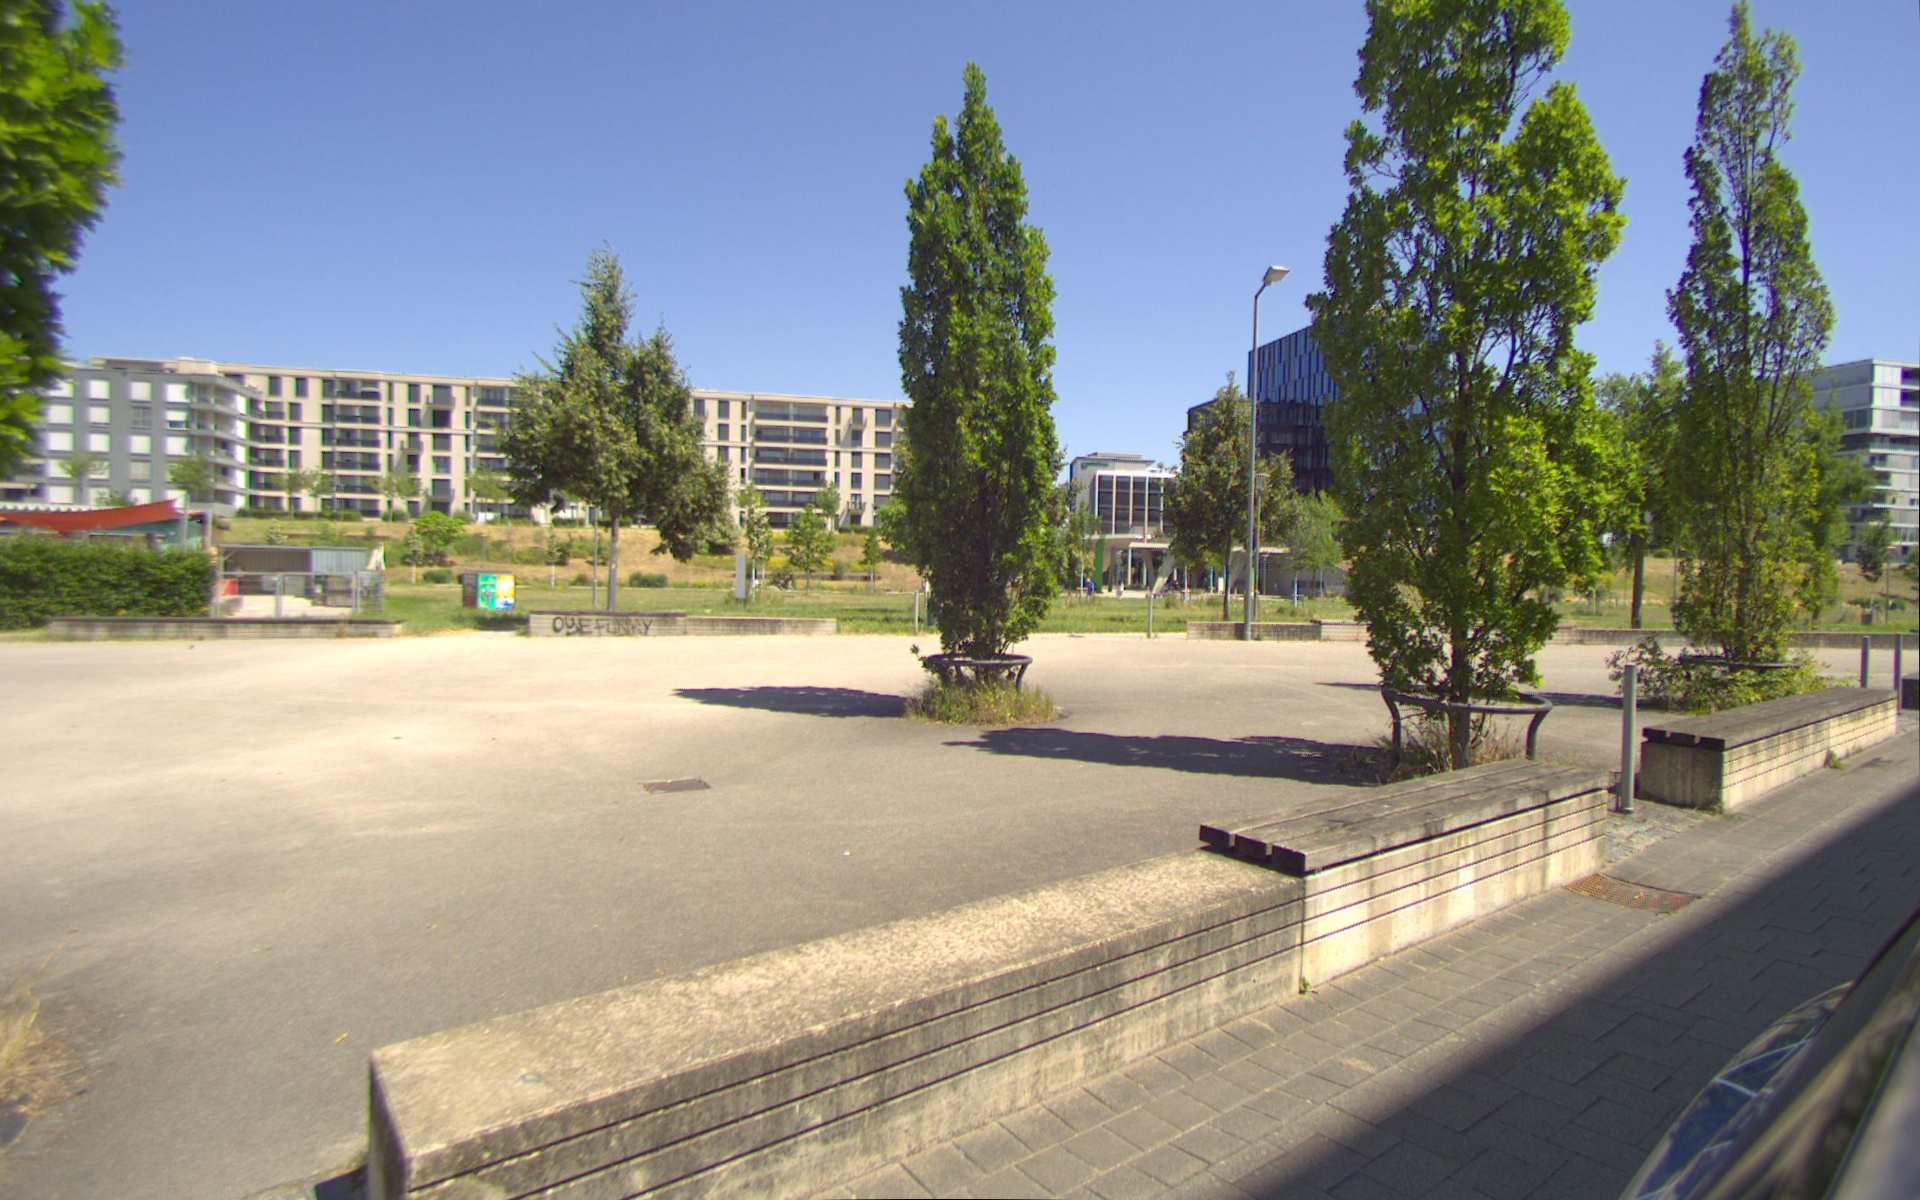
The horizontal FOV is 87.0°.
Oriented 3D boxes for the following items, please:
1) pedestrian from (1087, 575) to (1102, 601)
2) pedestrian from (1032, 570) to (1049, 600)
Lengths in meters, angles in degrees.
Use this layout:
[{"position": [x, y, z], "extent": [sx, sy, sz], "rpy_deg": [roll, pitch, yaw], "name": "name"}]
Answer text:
[{"position": [9.085, -0.800, 68.563], "extent": [0.808, 1.749, 0.609], "rpy_deg": [1, 1, 31], "name": "pedestrian"}, {"position": [4.753, -0.909, 59.855], "extent": [0.808, 1.749, 0.609], "rpy_deg": [1, 1, 31], "name": "pedestrian"}]
